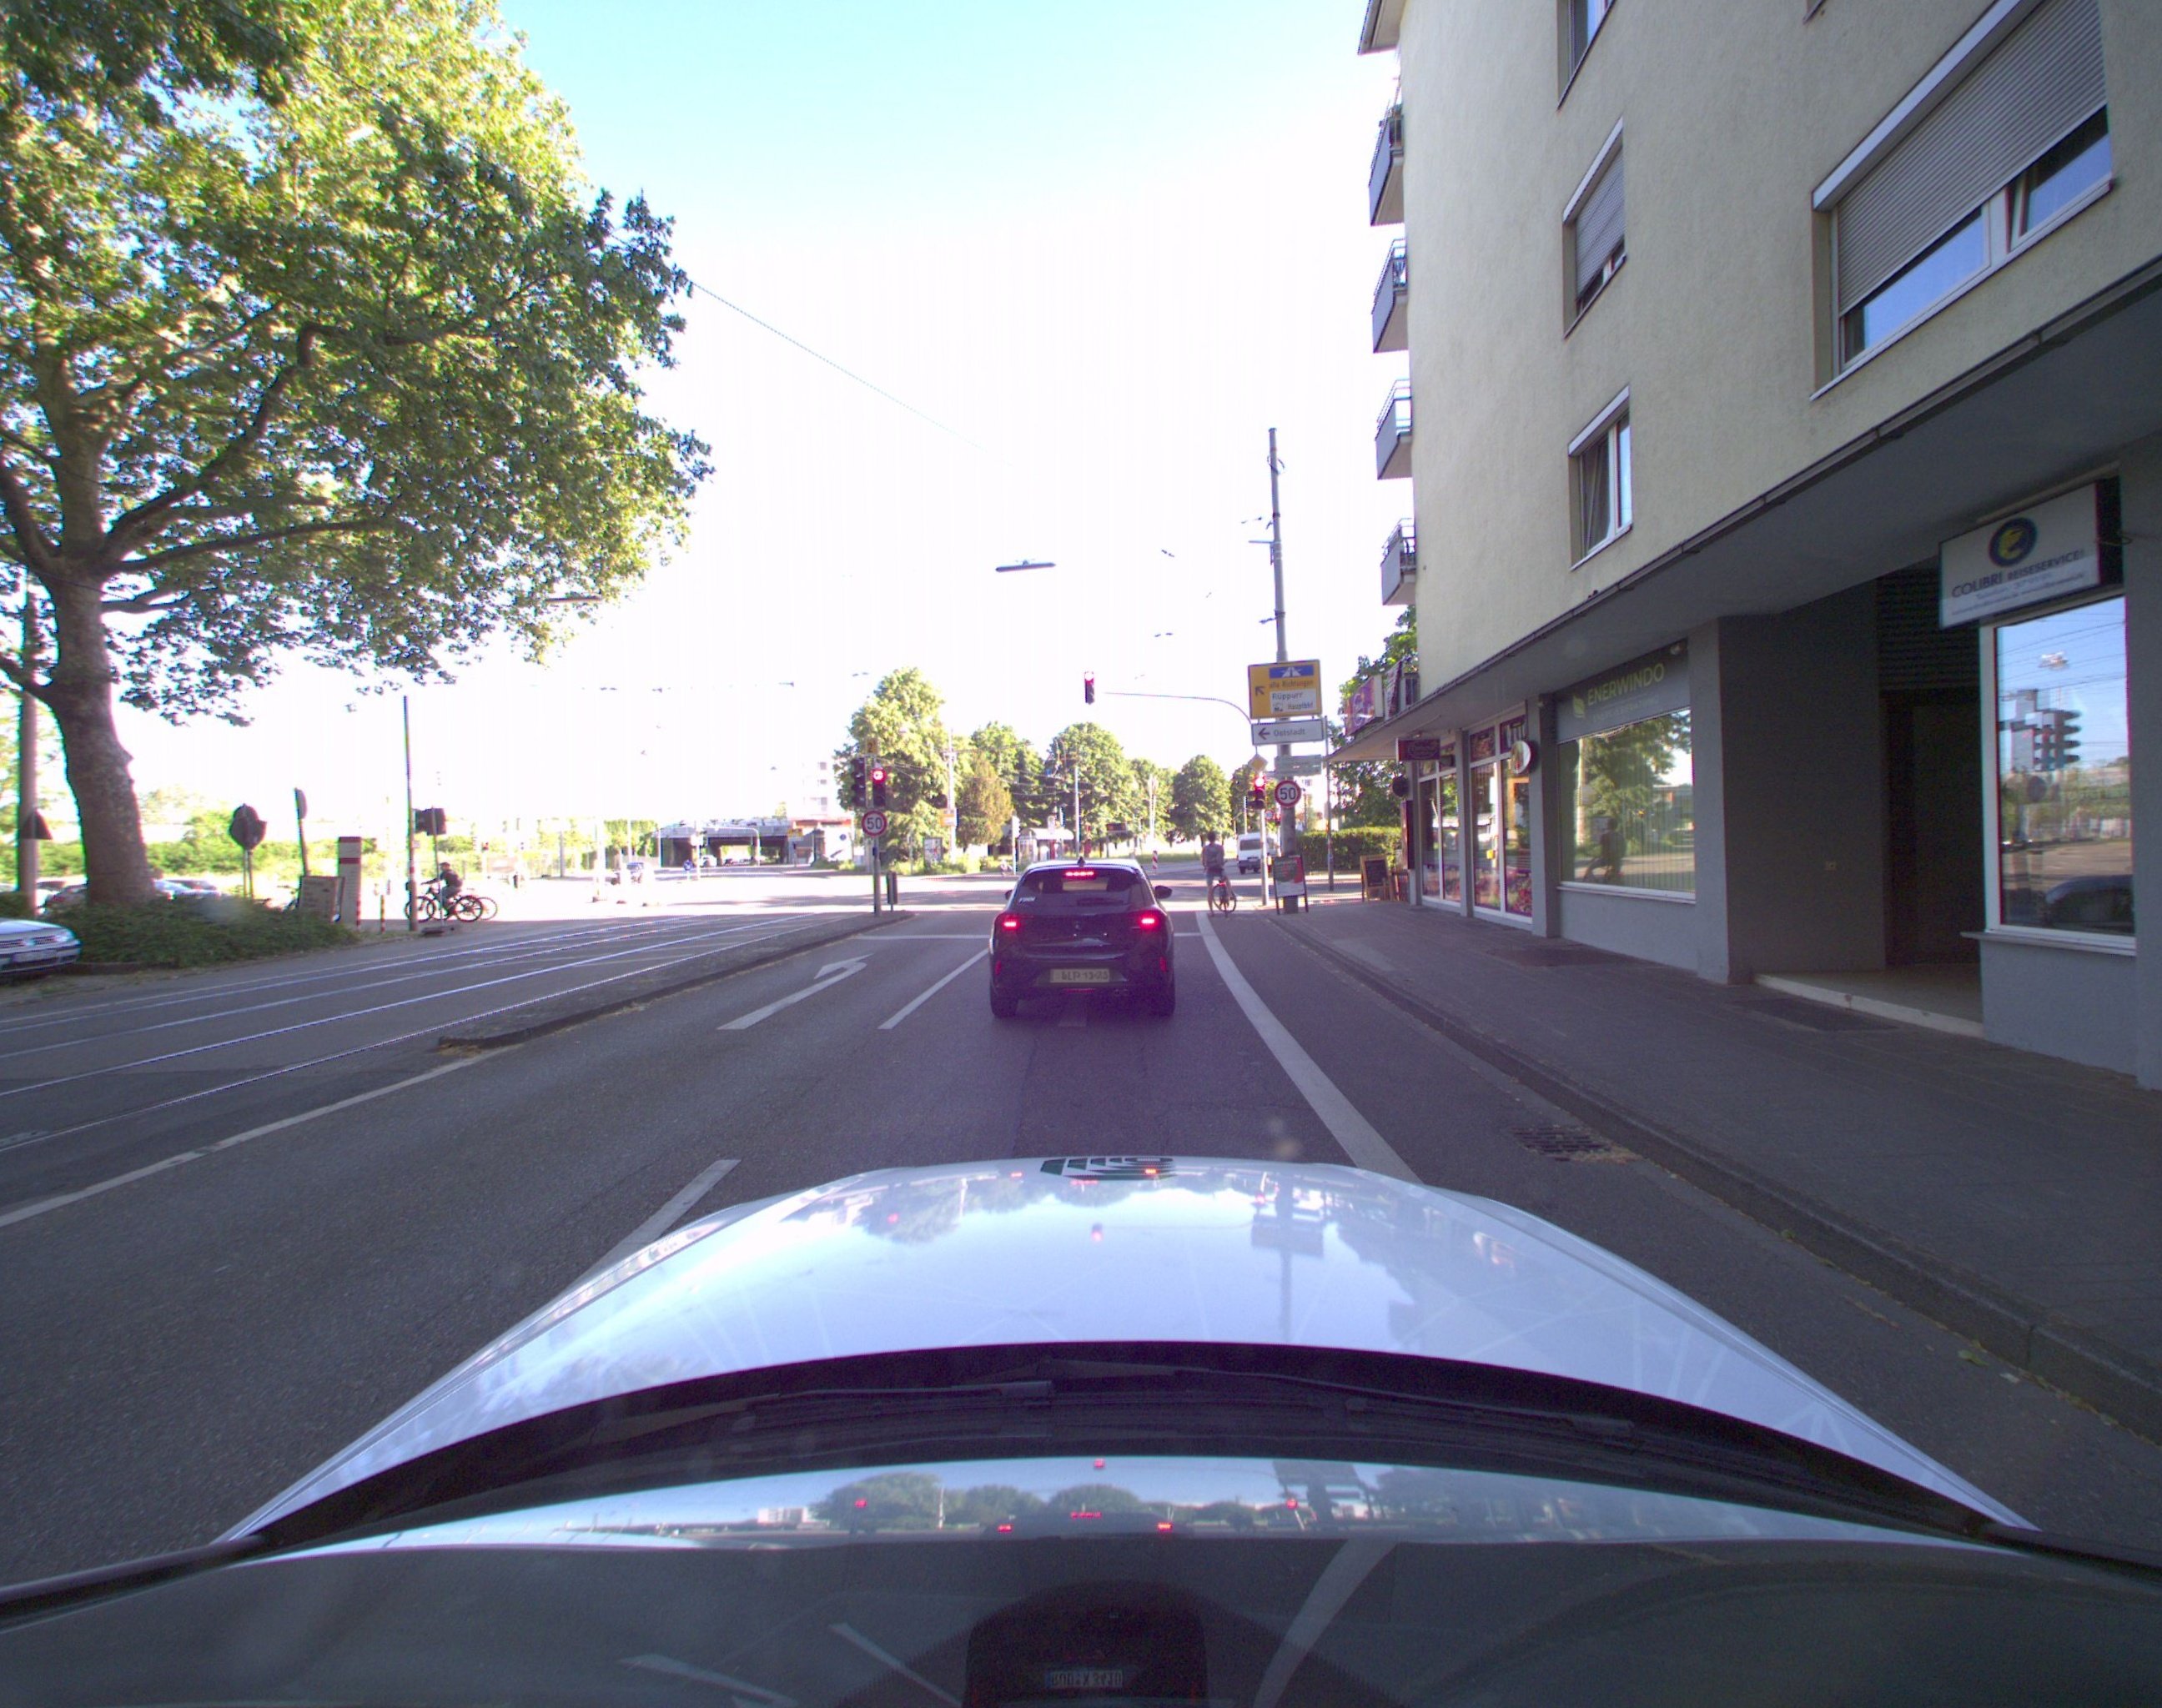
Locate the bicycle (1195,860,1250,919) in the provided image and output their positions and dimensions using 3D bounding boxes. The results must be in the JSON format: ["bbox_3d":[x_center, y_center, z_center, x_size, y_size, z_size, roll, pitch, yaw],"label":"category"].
[{"bbox_3d":[3.069,0.735,17.874,0.857,1.153,2.172,-2,0,1],"label":"bicycle"}]

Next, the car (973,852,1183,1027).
[{"bbox_3d":[0.050,0.710,8.864,1.720,1.429,4.189,-1,0,2],"label":"car"}]

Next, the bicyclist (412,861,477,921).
[{"bbox_3d":[-17.095,0.969,21.912,1.117,1.520,0.915,-2,0,-21],"label":"bicyclist"}]

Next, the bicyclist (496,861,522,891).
[{"bbox_3d":[-30.535,1.175,43.463,0.856,1.595,0.650,-2,0,6],"label":"bicyclist"}]

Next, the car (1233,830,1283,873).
[{"bbox_3d":[10.148,-0.154,46.389,2.046,2.248,4.912,-2,0,20],"label":"car"}]

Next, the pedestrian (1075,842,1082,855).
[{"bbox_3d":[-0.342,-0.802,119.095,0.915,1.981,0.991,0,-1,-4],"label":"pedestrian"}]

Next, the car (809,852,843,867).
[{"bbox_3d":[-34.409,0.749,110.039,4.193,1.805,1.723,-2,0,-23],"label":"car"}]

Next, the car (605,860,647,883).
[{"bbox_3d":[-31.284,1.155,56.108,1.830,1.519,3.870,0,0,-18],"label":"car"}]

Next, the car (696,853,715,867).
[{"bbox_3d":[-51.400,0.874,111.406,2.223,1.823,4.114,-2,0,-24],"label":"car"}]

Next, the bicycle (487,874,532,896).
[{"bbox_3d":[-30.495,1.671,43.456,2.044,1.094,0.593,-2,0,6],"label":"bicycle"}]

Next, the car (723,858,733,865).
[{"bbox_3d":[-77.631,1.633,179.179,2.003,1.602,4.213,-2,0,-24],"label":"car"}]

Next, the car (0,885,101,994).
[{"bbox_3d":[-16.956,1.202,11.368,4.497,1.429,1.676,0,0,0],"label":"car"}]

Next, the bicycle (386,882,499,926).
[{"bbox_3d":[-17.127,1.316,21.917,2.199,1.033,0.828,-2,0,-21],"label":"bicycle"}]

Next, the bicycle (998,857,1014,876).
[{"bbox_3d":[-4.303,0.725,46.744,0.603,1.031,1.983,-2,0,2],"label":"bicycle"}]

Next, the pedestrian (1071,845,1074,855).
[{"bbox_3d":[-1.121,-0.515,110.868,0.411,1.412,0.436,0,-1,1],"label":"pedestrian"}]

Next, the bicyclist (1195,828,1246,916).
[{"bbox_3d":[3.054,0.381,17.884,0.938,1.851,0.864,-2,0,1],"label":"bicyclist"}]
